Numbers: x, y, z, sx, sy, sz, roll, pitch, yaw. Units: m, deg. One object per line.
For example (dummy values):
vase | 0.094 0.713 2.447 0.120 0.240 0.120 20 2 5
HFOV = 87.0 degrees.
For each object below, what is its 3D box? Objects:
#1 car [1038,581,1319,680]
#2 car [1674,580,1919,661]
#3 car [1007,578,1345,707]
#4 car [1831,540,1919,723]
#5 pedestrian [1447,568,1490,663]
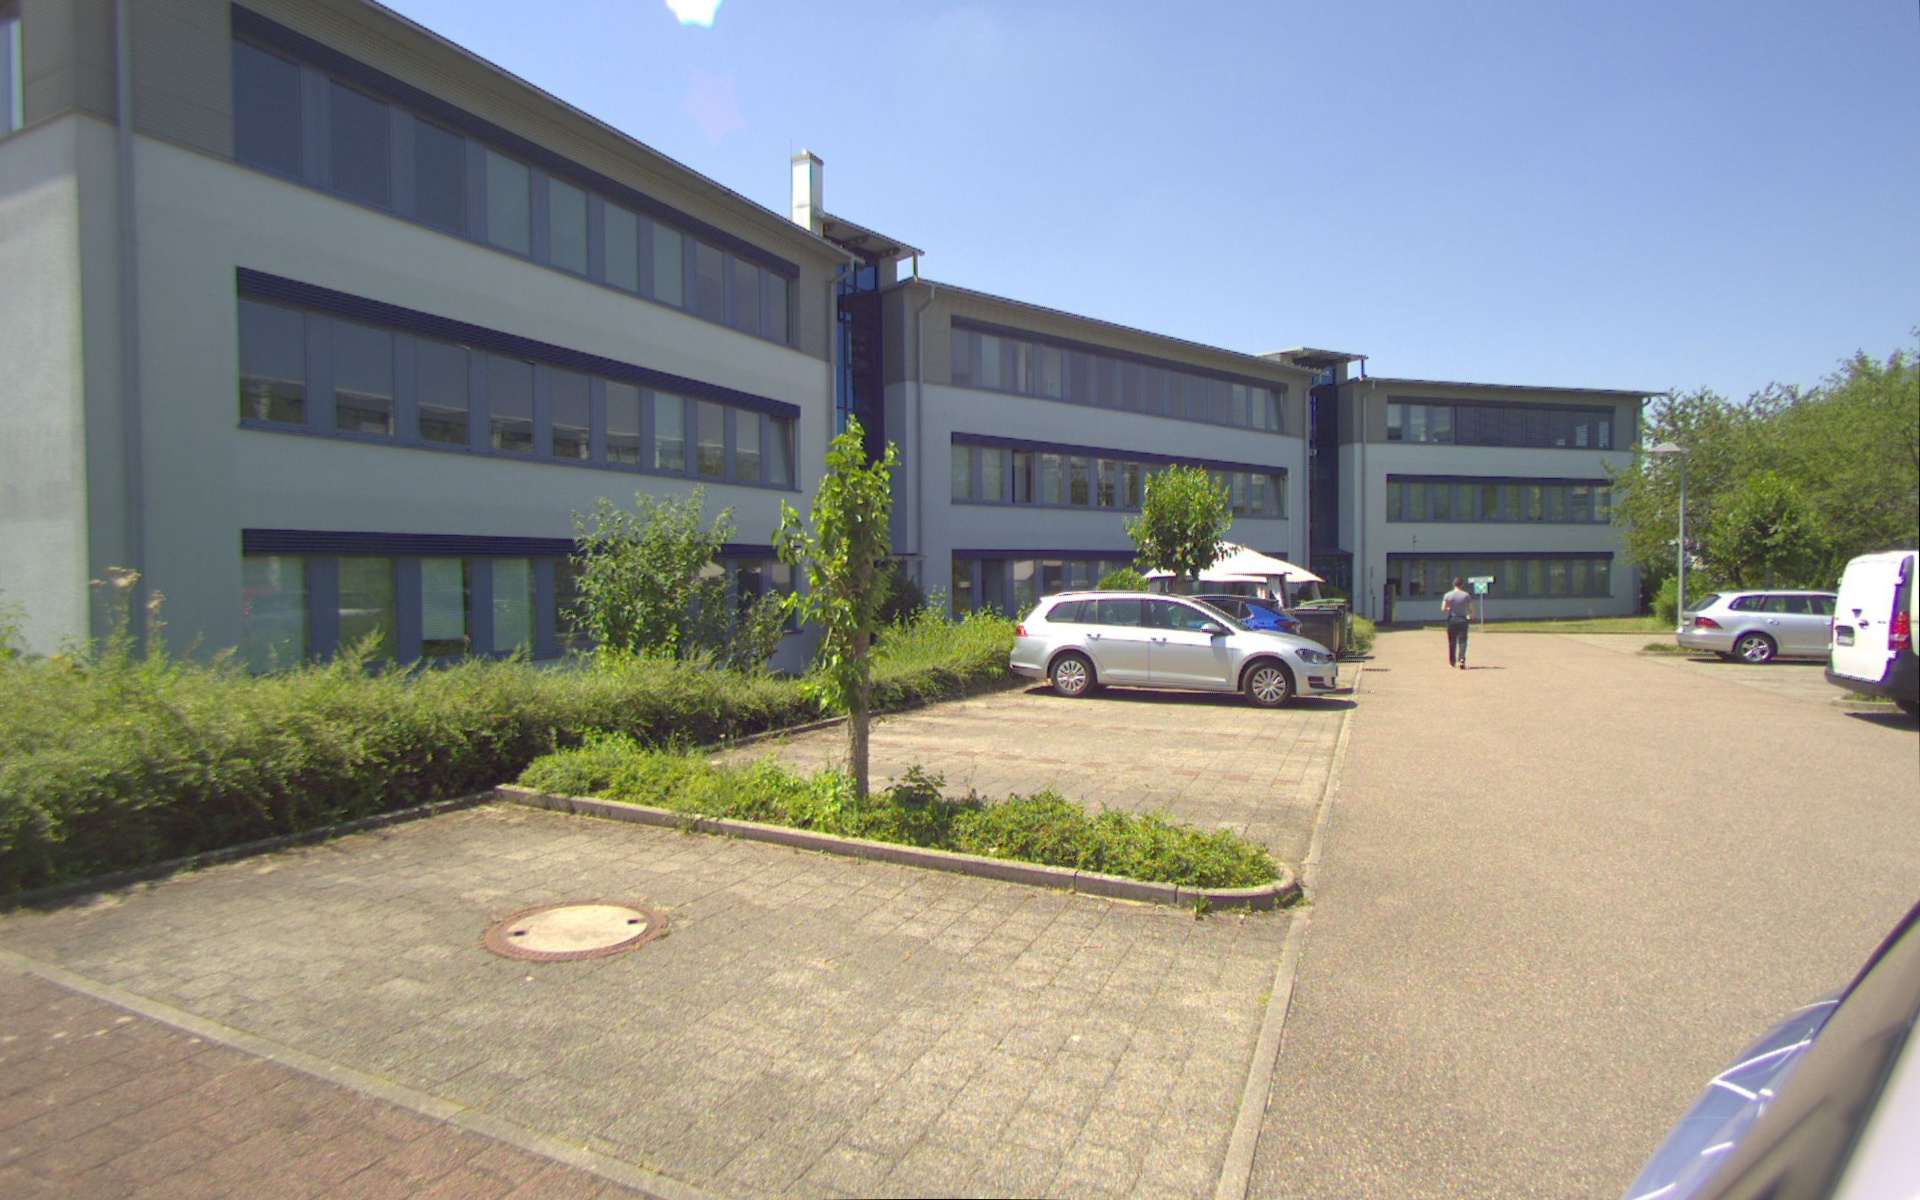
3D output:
car | 3.816 0.459 17.740 4.561 1.512 1.842 1 1 23
car | 16.827 0.364 20.119 4.044 1.502 1.724 0 0 26
car | 3.024 0.497 14.171 4.378 1.539 1.842 1 1 23
car | 12.254 0.324 10.223 4.883 1.879 1.841 0 0 25
pedestrian | 9.715 0.279 19.361 0.691 1.779 0.770 -1 0 26
